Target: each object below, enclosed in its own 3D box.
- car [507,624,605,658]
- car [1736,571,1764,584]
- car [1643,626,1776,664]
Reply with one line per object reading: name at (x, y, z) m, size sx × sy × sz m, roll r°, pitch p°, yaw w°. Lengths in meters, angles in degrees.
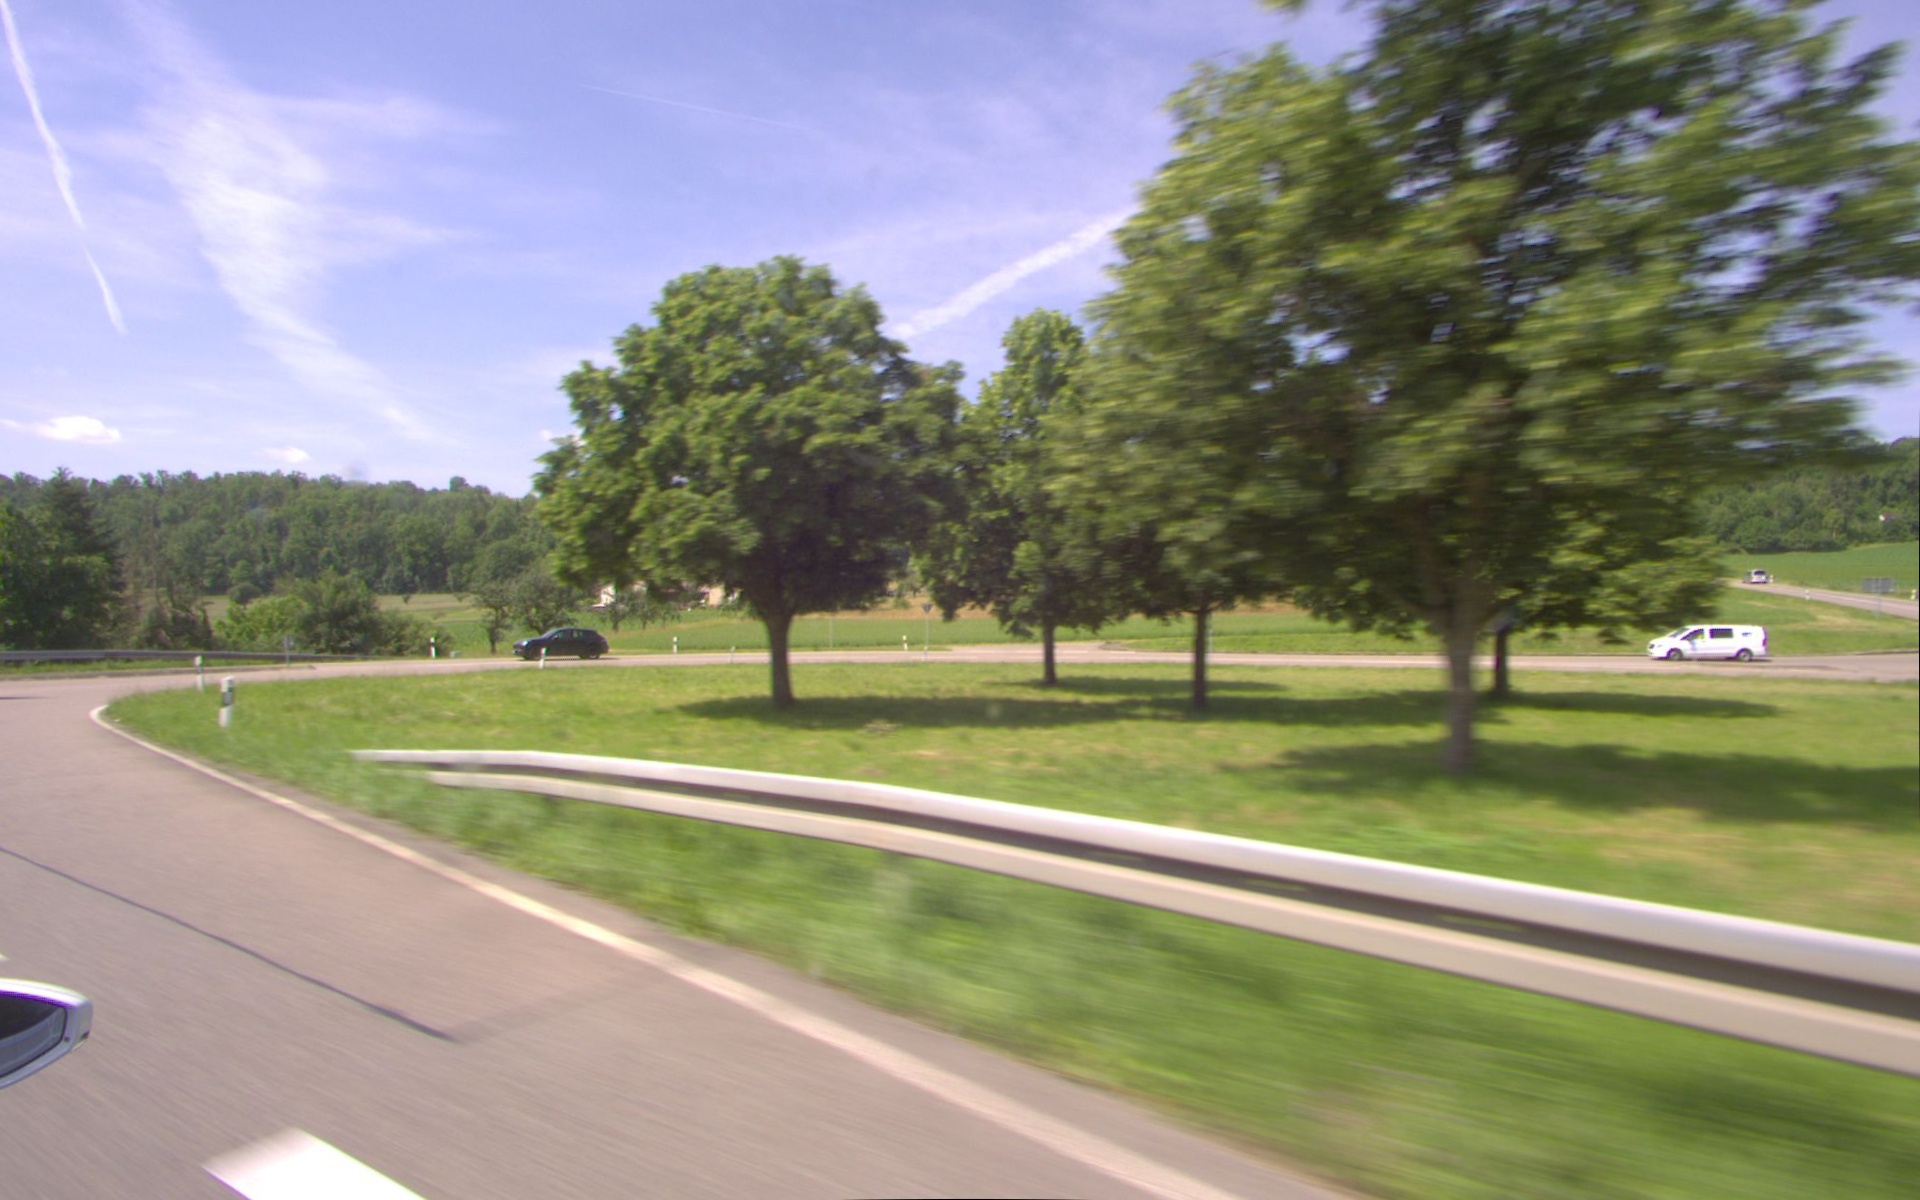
car at (-20.772, 2.077, 51.552) m, size 4.372 × 1.611 × 2.050 m, roll 1°, pitch 1°, yaw -35°
car at (101.049, -2.915, 128.182) m, size 1.781 × 1.572 × 3.985 m, roll 1°, pitch 4°, yaw 23°
car at (40.135, 2.370, 53.776) m, size 5.324 × 1.872 × 1.996 m, roll 0°, pitch 1°, yaw 18°
